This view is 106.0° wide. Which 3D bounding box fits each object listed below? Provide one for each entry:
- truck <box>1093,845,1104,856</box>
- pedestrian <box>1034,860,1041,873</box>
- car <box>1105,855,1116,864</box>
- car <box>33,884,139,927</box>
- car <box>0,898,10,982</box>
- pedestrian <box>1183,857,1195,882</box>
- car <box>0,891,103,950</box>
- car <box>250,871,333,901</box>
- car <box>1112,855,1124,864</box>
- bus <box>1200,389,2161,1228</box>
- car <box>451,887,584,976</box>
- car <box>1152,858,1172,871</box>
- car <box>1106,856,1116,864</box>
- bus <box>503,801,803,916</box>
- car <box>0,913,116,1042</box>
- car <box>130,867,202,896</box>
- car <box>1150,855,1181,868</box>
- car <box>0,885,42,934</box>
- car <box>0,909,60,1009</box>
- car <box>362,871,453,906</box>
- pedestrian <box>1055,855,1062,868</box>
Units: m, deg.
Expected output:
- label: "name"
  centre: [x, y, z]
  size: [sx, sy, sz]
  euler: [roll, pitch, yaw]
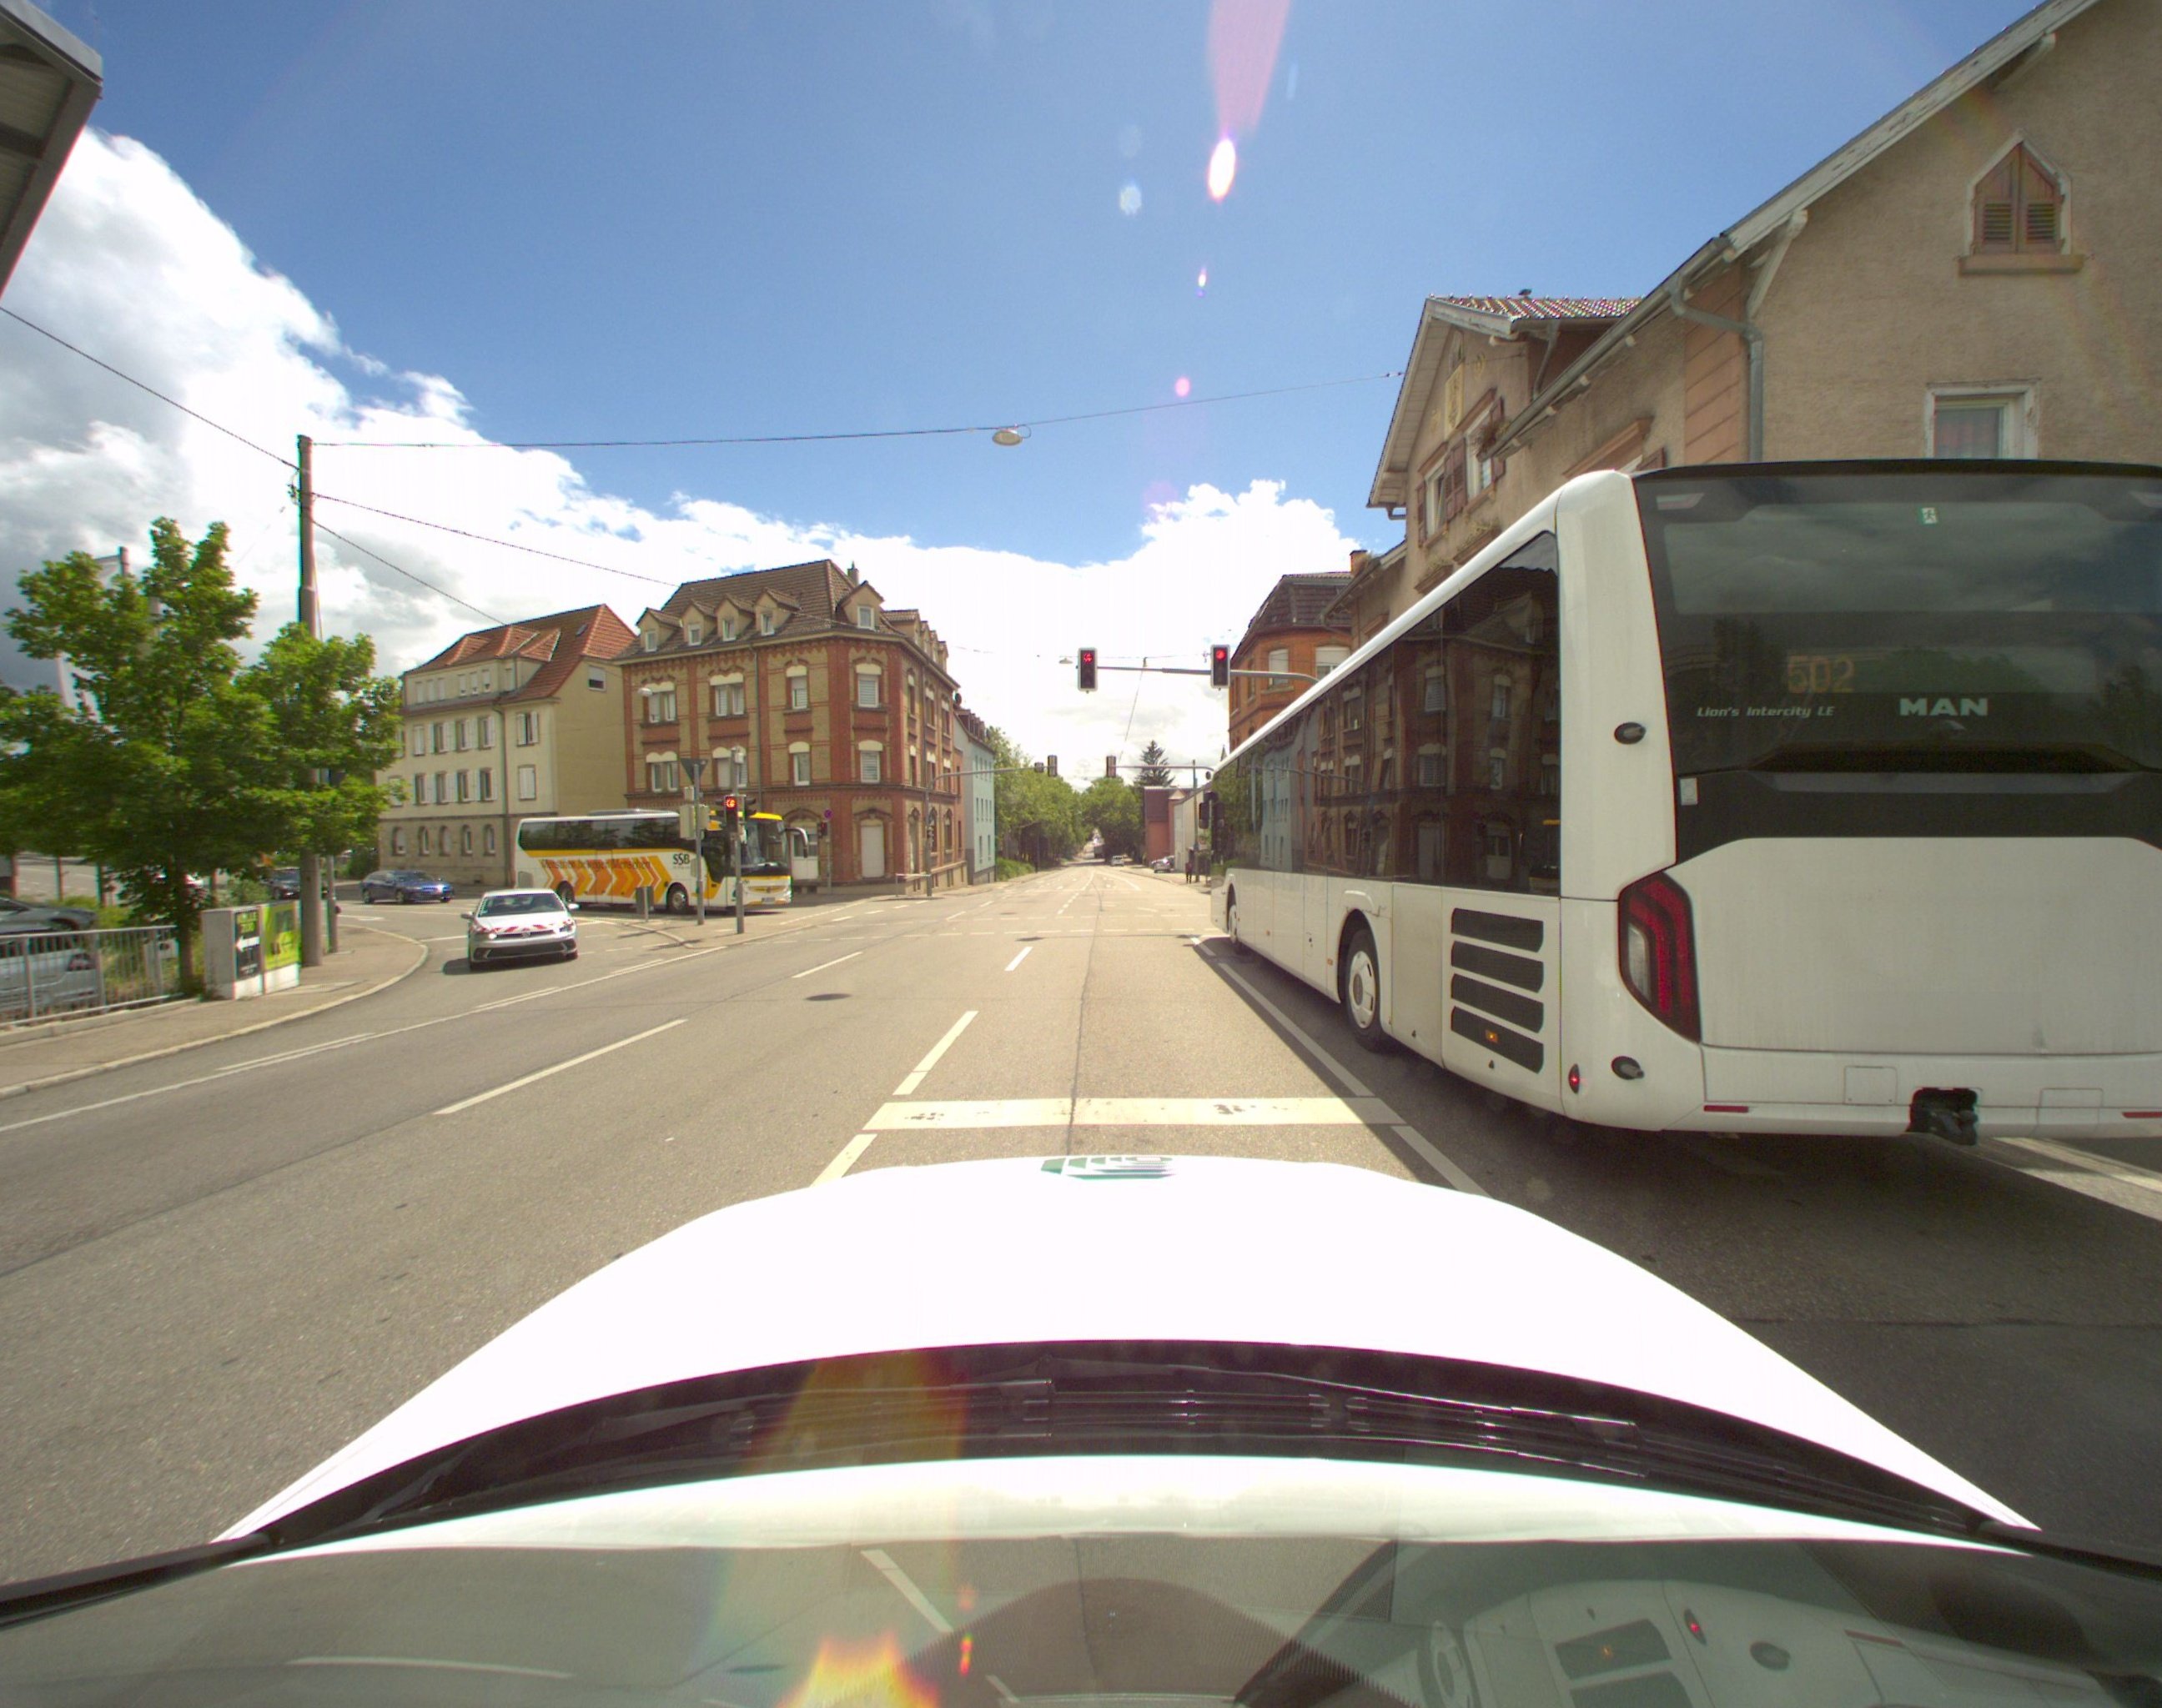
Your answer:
- label: "truck"
  centre: [5.004, -0.937, 235.522]
  size: [2.917, 3.081, 7.883]
  euler: [-2, 0, 0]
- label: "pedestrian"
  centre: [-5.307, 1.530, 98.657]
  size: [0.727, 1.565, 0.561]
  euler: [-1, -1, 0]
- label: "car"
  centre: [5.291, 0.979, 145.925]
  size: [1.787, 1.409, 4.421]
  euler: [-1, 0, 3]
- label: "car"
  centre: [-37.730, 1.927, 30.885]
  size: [3.456, 1.448, 1.811]
  euler: [-2, 0, 26]
- label: "car"
  centre: [-23.471, 1.768, 16.484]
  size: [3.455, 1.680, 1.663]
  euler: [-1, 2, 30]
- label: "pedestrian"
  centre: [7.599, 1.070, 57.344]
  size: [0.736, 1.750, 0.619]
  euler: [-2, 0, 1]
- label: "car"
  centre: [-29.583, 1.855, 22.185]
  size: [1.777, 1.477, 3.522]
  euler: [-2, 0, 32]
- label: "car"
  centre: [-40.114, 1.603, 41.394]
  size: [3.949, 1.409, 1.923]
  euler: [-2, 0, 29]
- label: "car"
  centre: [5.881, 0.941, 129.524]
  size: [1.787, 1.409, 4.002]
  euler: [-1, 0, 2]
- label: "bus"
  centre: [3.428, -0.162, 9.358]
  size: [2.662, 3.155, 12.467]
  euler: [-2, 0, 2]
- label: "car"
  centre: [-11.438, 1.451, 16.441]
  size: [1.894, 1.418, 3.579]
  euler: [-3, 1, -39]
- label: "car"
  centre: [9.228, 1.169, 93.028]
  size: [1.788, 1.409, 4.000]
  euler: [-2, 0, 1]
- label: "car"
  centre: [5.749, 1.115, 154.025]
  size: [1.787, 1.409, 4.421]
  euler: [-1, 0, 3]
- label: "bus"
  centre: [-15.733, 0.243, 29.494]
  size: [12.112, 3.621, 2.787]
  euler: [-1, 0, 25]
- label: "car"
  centre: [-16.005, 1.782, 12.069]
  size: [3.321, 1.560, 1.692]
  euler: [0, 2, 32]
- label: "car"
  centre: [-51.974, 1.573, 46.256]
  size: [3.949, 1.554, 1.923]
  euler: [-2, 0, 29]
- label: "car"
  centre: [11.776, 1.037, 113.083]
  size: [3.978, 1.757, 1.998]
  euler: [-2, 0, -3]
- label: "car"
  centre: [-36.421, 1.867, 25.789]
  size: [1.785, 1.553, 4.023]
  euler: [-2, 0, 25]
- label: "car"
  centre: [-19.572, 1.839, 14.196]
  size: [3.455, 1.526, 1.626]
  euler: [-1, 2, 29]
- label: "car"
  centre: [-30.227, 1.538, 36.524]
  size: [3.949, 1.409, 1.762]
  euler: [-2, 0, 28]
- label: "pedestrian"
  centre: [-3.590, 1.248, 130.708]
  size: [0.991, 2.013, 1.189]
  euler: [-2, 0, 1]
